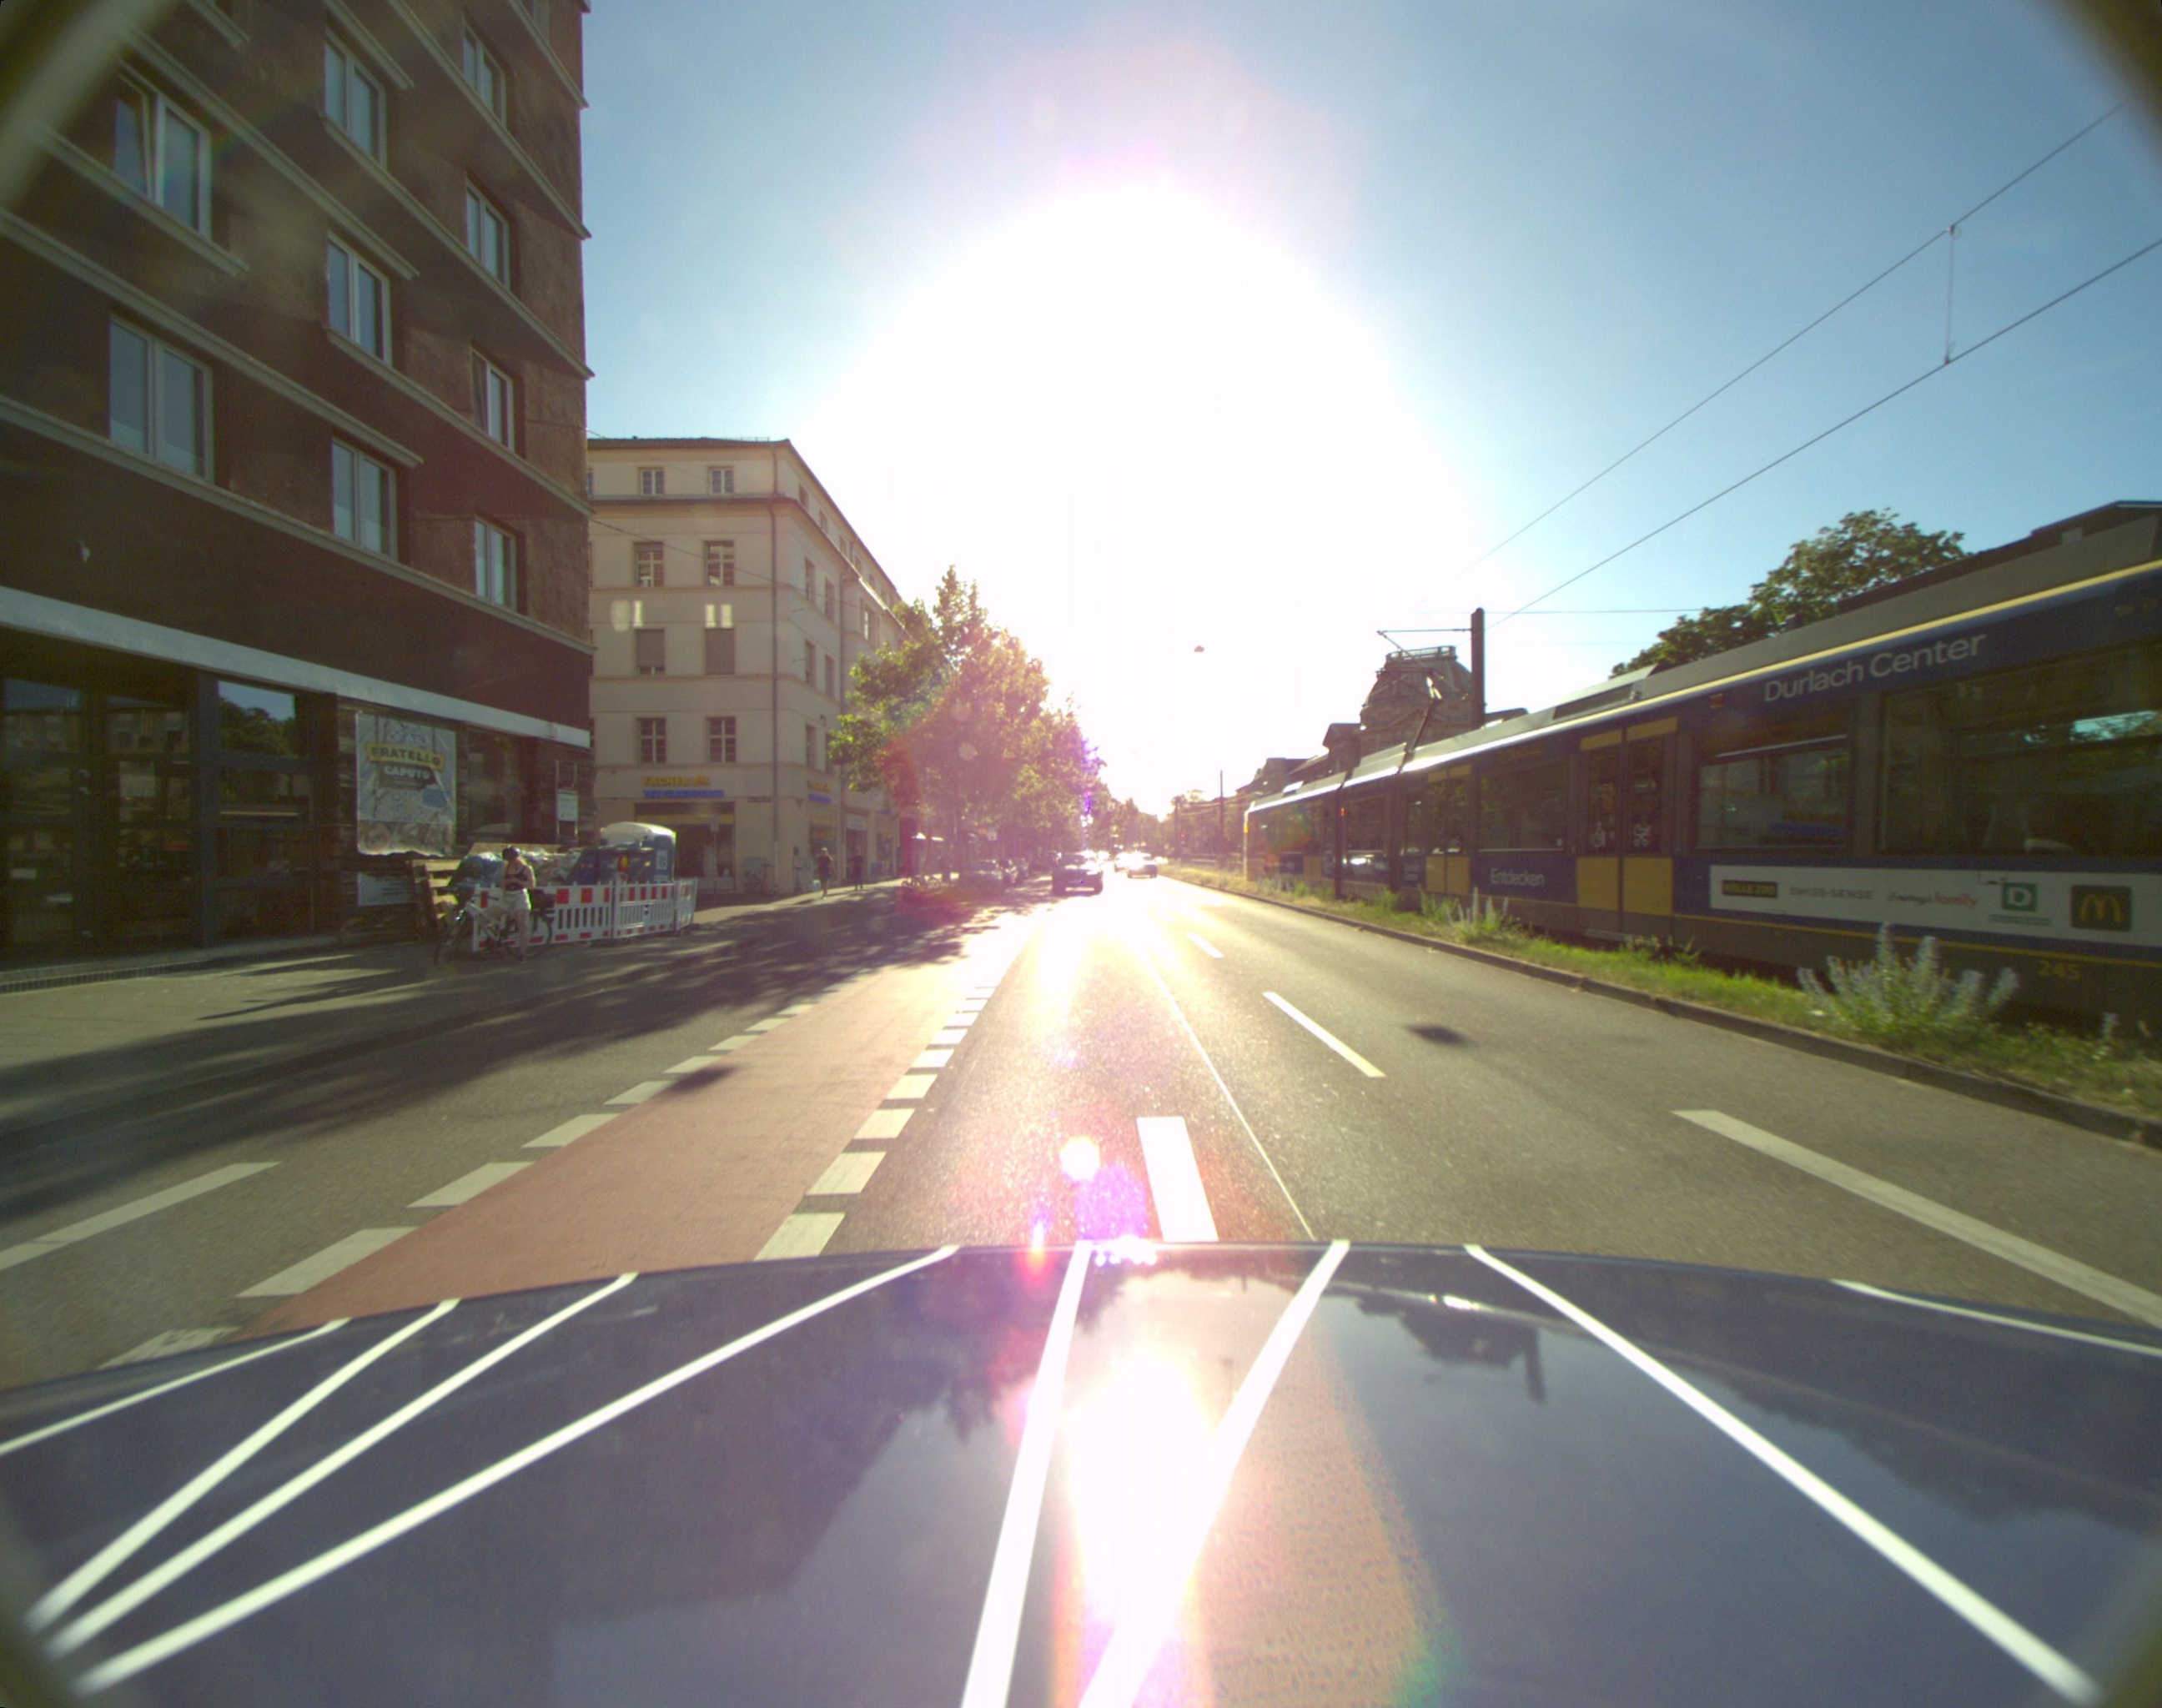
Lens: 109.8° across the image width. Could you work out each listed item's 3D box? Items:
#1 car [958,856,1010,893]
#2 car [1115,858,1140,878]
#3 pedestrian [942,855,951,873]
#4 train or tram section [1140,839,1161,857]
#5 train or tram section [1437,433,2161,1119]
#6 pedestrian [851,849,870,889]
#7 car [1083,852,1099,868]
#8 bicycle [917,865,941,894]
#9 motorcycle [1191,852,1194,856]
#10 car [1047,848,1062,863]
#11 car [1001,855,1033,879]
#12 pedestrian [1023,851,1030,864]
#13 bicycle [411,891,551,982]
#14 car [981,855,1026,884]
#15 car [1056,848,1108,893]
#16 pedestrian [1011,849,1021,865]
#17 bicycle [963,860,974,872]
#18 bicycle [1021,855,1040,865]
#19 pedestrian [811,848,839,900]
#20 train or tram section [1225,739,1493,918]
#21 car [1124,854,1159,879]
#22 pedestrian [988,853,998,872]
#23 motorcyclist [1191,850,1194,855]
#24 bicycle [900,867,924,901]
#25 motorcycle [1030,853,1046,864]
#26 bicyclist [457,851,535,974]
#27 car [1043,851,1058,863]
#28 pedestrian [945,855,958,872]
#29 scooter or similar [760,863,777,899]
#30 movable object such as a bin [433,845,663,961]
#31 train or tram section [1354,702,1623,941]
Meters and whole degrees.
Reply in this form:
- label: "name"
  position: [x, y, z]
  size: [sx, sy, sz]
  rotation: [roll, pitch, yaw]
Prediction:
- label: "car"
  position: [-4.423, 0.890, 35.242]
  size: [1.794, 1.546, 4.435]
  rotation: [-1, 0, 0]
- label: "car"
  position: [3.808, 1.121, 62.799]
  size: [1.798, 1.420, 4.000]
  rotation: [-2, 0, 1]
- label: "pedestrian"
  position: [-10.231, 0.758, 57.713]
  size: [0.536, 1.325, 0.820]
  rotation: [0, 1, 1]
- label: "train or tram section"
  position: [14.290, -1.154, 157.454]
  size: [2.969, 3.463, 11.285]
  rotation: [-2, 0, -1]
- label: "train or tram section"
  position: [7.557, -0.499, 7.316]
  size: [2.960, 3.874, 10.800]
  rotation: [-3, 0, -1]
- label: "pedestrian"
  position: [-9.325, 0.625, 32.119]
  size: [0.559, 1.701, 0.770]
  rotation: [-1, 1, 0]
- label: "car"
  position: [1.013, 0.568, 77.152]
  size: [1.554, 1.520, 3.718]
  rotation: [-1, 0, 1]
- label: "bicycle"
  position: [-6.354, 1.057, 31.874]
  size: [0.488, 1.129, 1.691]
  rotation: [-1, 0, 6]
- label: "motorcycle"
  position: [24.148, 0.012, 164.210]
  size: [0.369, 0.779, 1.522]
  rotation: [-2, 1, 3]
- label: "car"
  position: [-3.866, 0.182, 109.855]
  size: [1.861, 2.002, 4.723]
  rotation: [-3, 1, 0]
- label: "car"
  position: [-4.219, 0.829, 50.595]
  size: [1.699, 1.493, 3.801]
  rotation: [2, 0, 0]
- label: "pedestrian"
  position: [-7.906, 0.546, 109.929]
  size: [0.644, 1.817, 0.896]
  rotation: [-2, 1, 13]
- label: "bicycle"
  position: [-8.342, 1.108, 10.654]
  size: [0.318, 1.079, 1.686]
  rotation: [0, 0, 13]
- label: "car"
  position: [-4.325, 0.849, 43.268]
  size: [2.043, 1.500, 4.593]
  rotation: [-1, 0, 0]
- label: "car"
  position: [0.027, 0.617, 31.869]
  size: [1.949, 1.690, 5.305]
  rotation: [-1, 0, 0]
- label: "pedestrian"
  position: [-8.533, 0.391, 99.506]
  size: [1.090, 2.002, 1.046]
  rotation: [-2, 1, 1]
- label: "bicycle"
  position: [-9.781, 1.047, 66.057]
  size: [0.491, 1.018, 2.623]
  rotation: [-1, 0, 0]
- label: "bicycle"
  position: [-6.123, 0.717, 92.705]
  size: [2.228, 1.087, 0.455]
  rotation: [-2, 1, 2]
- label: "pedestrian"
  position: [-9.394, 0.712, 27.947]
  size: [0.715, 1.889, 0.863]
  rotation: [0, 1, 0]
- label: "train or tram section"
  position: [7.422, -0.603, 23.715]
  size: [2.936, 3.790, 14.271]
  rotation: [-3, 0, 0]
- label: "car"
  position: [3.772, 0.733, 47.705]
  size: [1.778, 1.439, 3.868]
  rotation: [-2, 0, -1]
- label: "pedestrian"
  position: [-7.937, 0.791, 68.579]
  size: [0.861, 1.695, 0.916]
  rotation: [-1, 1, -2]
- label: "motorcyclist"
  position: [24.076, -0.318, 164.235]
  size: [0.515, 1.250, 0.691]
  rotation: [-2, 1, 4]
- label: "bicycle"
  position: [-6.171, 1.069, 27.755]
  size: [0.582, 1.156, 2.236]
  rotation: [-3, 1, -7]
- label: "motorcycle"
  position: [-5.178, 0.593, 91.603]
  size: [1.954, 1.224, 0.515]
  rotation: [-3, 1, -3]
- label: "bicyclist"
  position: [-8.269, 0.803, 10.754]
  size: [0.602, 1.680, 0.598]
  rotation: [-1, 1, 11]
- label: "car"
  position: [-4.128, 0.440, 102.529]
  size: [1.823, 1.506, 4.707]
  rotation: [-3, 0, -1]
- label: "pedestrian"
  position: [-9.988, 0.728, 58.630]
  size: [0.787, 1.361, 0.857]
  rotation: [0, 1, 1]
- label: "scooter or similar"
  position: [-11.509, 0.979, 27.955]
  size: [0.382, 1.278, 1.203]
  rotation: [-3, 1, -29]
- label: "movable object such as a bin"
  position: [-9.479, 0.804, 13.898]
  size: [1.951, 1.832, 3.479]
  rotation: [-1, -1, -5]
- label: "train or tram section"
  position: [7.535, -0.552, 14.658]
  size: [2.962, 3.874, 3.865]
  rotation: [-3, 1, -1]
